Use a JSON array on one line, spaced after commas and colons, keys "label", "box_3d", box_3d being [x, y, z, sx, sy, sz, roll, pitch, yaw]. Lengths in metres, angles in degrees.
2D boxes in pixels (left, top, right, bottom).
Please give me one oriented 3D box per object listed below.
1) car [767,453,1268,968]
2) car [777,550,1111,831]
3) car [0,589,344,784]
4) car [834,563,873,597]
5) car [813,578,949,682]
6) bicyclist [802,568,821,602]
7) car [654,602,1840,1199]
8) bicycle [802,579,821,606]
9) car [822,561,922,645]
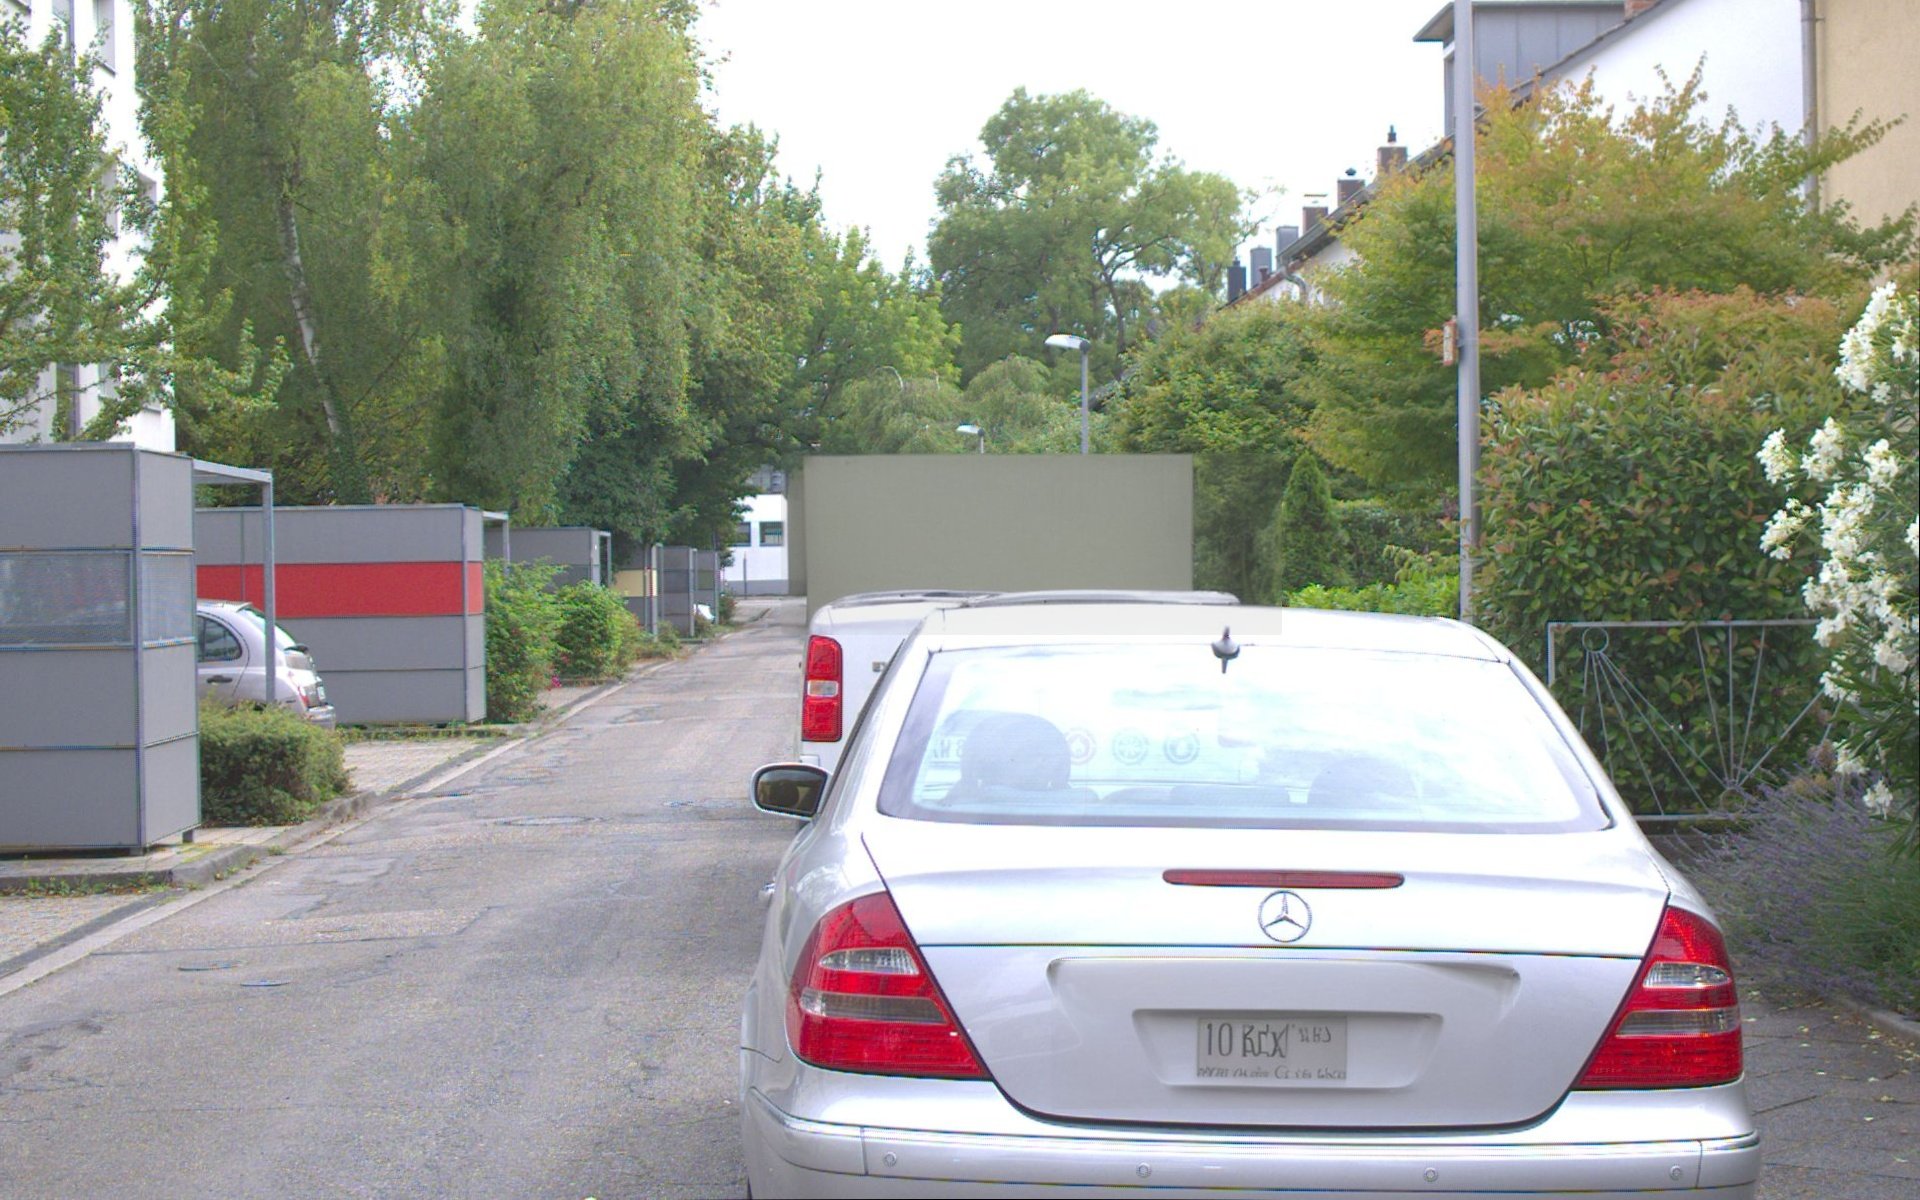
[{"label": "car", "box_3d": [0.112, 0.403, 15.777, 1.903, 1.958, 5.254, 0, 0, -2]}, {"label": "car", "box_3d": [-0.198, 0.514, 22.147, 1.824, 1.630, 4.163, 0, 0, -5]}, {"label": "car", "box_3d": [-7.070, 0.716, 28.870, 3.561, 1.475, 1.711, -2, 1, -6]}, {"label": "car", "box_3d": [-5.127, -0.971, 165.342, 1.825, 1.576, 4.000, 1, 1, -1]}, {"label": "car", "box_3d": [-1.127, 0.391, 48.873, 1.825, 1.365, 4.331, 1, 1, -1]}, {"label": "bicyclist", "box_3d": [-6.498, -0.658, 150.593, 0.798, 1.506, 0.934, 1, 0, 0]}, {"label": "car", "box_3d": [0.421, 0.739, 7.420, 1.783, 1.416, 4.455, 0, 0, 0]}, {"label": "bicycle", "box_3d": [-6.498, -0.329, 150.437, 0.689, 1.127, 2.579, 1, 0, 0]}, {"label": "car", "box_3d": [-1.768, 0.040, 67.842, 1.825, 1.576, 4.001, 1, 1, -3]}]
